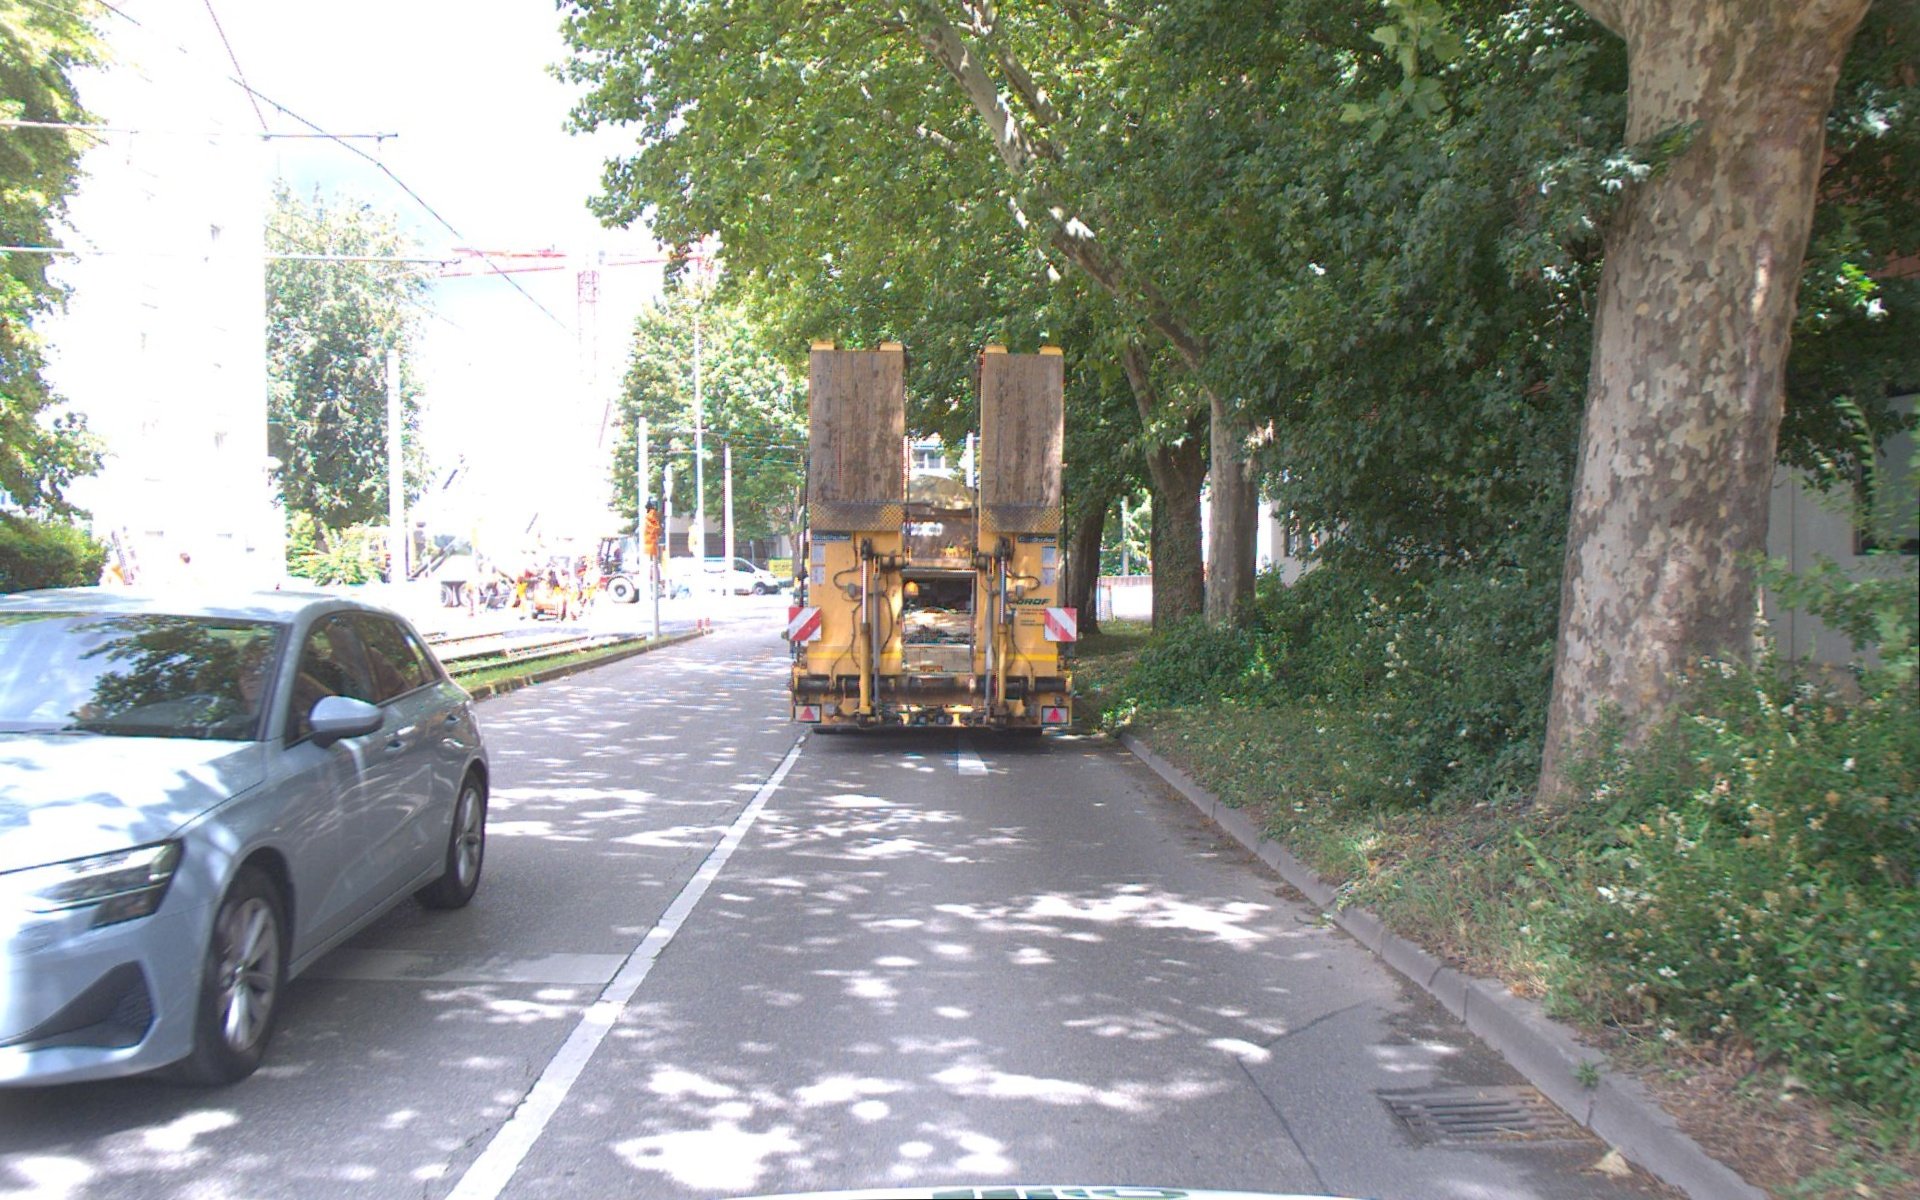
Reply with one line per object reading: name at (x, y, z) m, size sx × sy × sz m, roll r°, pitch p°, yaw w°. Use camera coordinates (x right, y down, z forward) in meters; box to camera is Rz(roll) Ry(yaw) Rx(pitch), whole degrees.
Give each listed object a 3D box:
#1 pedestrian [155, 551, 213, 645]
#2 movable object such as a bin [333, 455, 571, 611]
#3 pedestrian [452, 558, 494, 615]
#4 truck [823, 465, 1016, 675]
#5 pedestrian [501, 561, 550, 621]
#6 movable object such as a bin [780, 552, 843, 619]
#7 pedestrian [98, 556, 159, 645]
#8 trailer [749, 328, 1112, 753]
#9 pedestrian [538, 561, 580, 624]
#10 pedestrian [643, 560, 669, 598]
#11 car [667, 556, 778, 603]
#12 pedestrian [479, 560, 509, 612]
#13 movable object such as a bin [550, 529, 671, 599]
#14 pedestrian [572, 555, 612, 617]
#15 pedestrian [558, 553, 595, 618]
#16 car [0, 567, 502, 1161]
pedestrian at (-14.810, -0.045, 31.582) m, size 0.685 × 1.748 × 0.867 m, roll 1°, pitch 1°, yaw -2°
movable object such as a bin at (-18.883, -2.411, 61.318) m, size 9.019 × 5.509 × 2.662 m, roll 1°, pitch 1°, yaw 25°
pedestrian at (-14.471, -0.395, 49.138) m, size 0.821 × 1.673 × 0.884 m, roll 1°, pitch 1°, yaw 37°
truck at (-0.739, -0.492, 29.241) m, size 2.929 × 3.189 × 7.885 m, roll 0°, pitch 1°, yaw -2°
pedestrian at (-12.817, -0.283, 48.761) m, size 0.873 × 1.745 × 1.103 m, roll 1°, pitch 1°, yaw 44°
movable object such as a bin at (-4.688, -0.476, 52.306) m, size 1.369 × 2.049 × 2.558 m, roll 1°, pitch 1°, yaw 9°
pedestrian at (-15.689, 0.001, 31.219) m, size 0.717 × 1.654 × 0.867 m, roll 0°, pitch 1°, yaw -2°
trailer at (-0.396, -0.563, 19.753) m, size 3.090 × 3.614 × 11.094 m, roll 0°, pitch 1°, yaw -2°
pedestrian at (-11.471, -0.213, 47.352) m, size 0.866 × 1.791 × 0.838 m, roll 1°, pitch 1°, yaw 15°
pedestrian at (-11.578, -0.799, 62.982) m, size 0.898 × 1.433 × 0.752 m, roll 1°, pitch 1°, yaw -4°
car at (-11.226, -0.999, 78.231) m, size 5.006 × 2.138 × 1.969 m, roll -1°, pitch 2°, yaw -16°
pedestrian at (-15.153, -0.466, 53.787) m, size 0.872 × 1.673 × 0.895 m, roll 0°, pitch 1°, yaw -19°
movable object such as a bin at (-13.922, -1.426, 65.934) m, size 4.280 × 2.675 × 2.219 m, roll 1°, pitch 1°, yaw 25°
pedestrian at (-11.250, -0.431, 50.542) m, size 0.868 × 1.899 × 0.836 m, roll 1°, pitch 1°, yaw 27°
pedestrian at (-11.215, -0.422, 48.363) m, size 0.876 × 1.899 × 0.829 m, roll 0°, pitch 1°, yaw -30°
car at (-2.884, 0.617, 5.954) m, size 1.603 × 1.460 × 3.849 m, roll 0°, pitch 1°, yaw -3°
